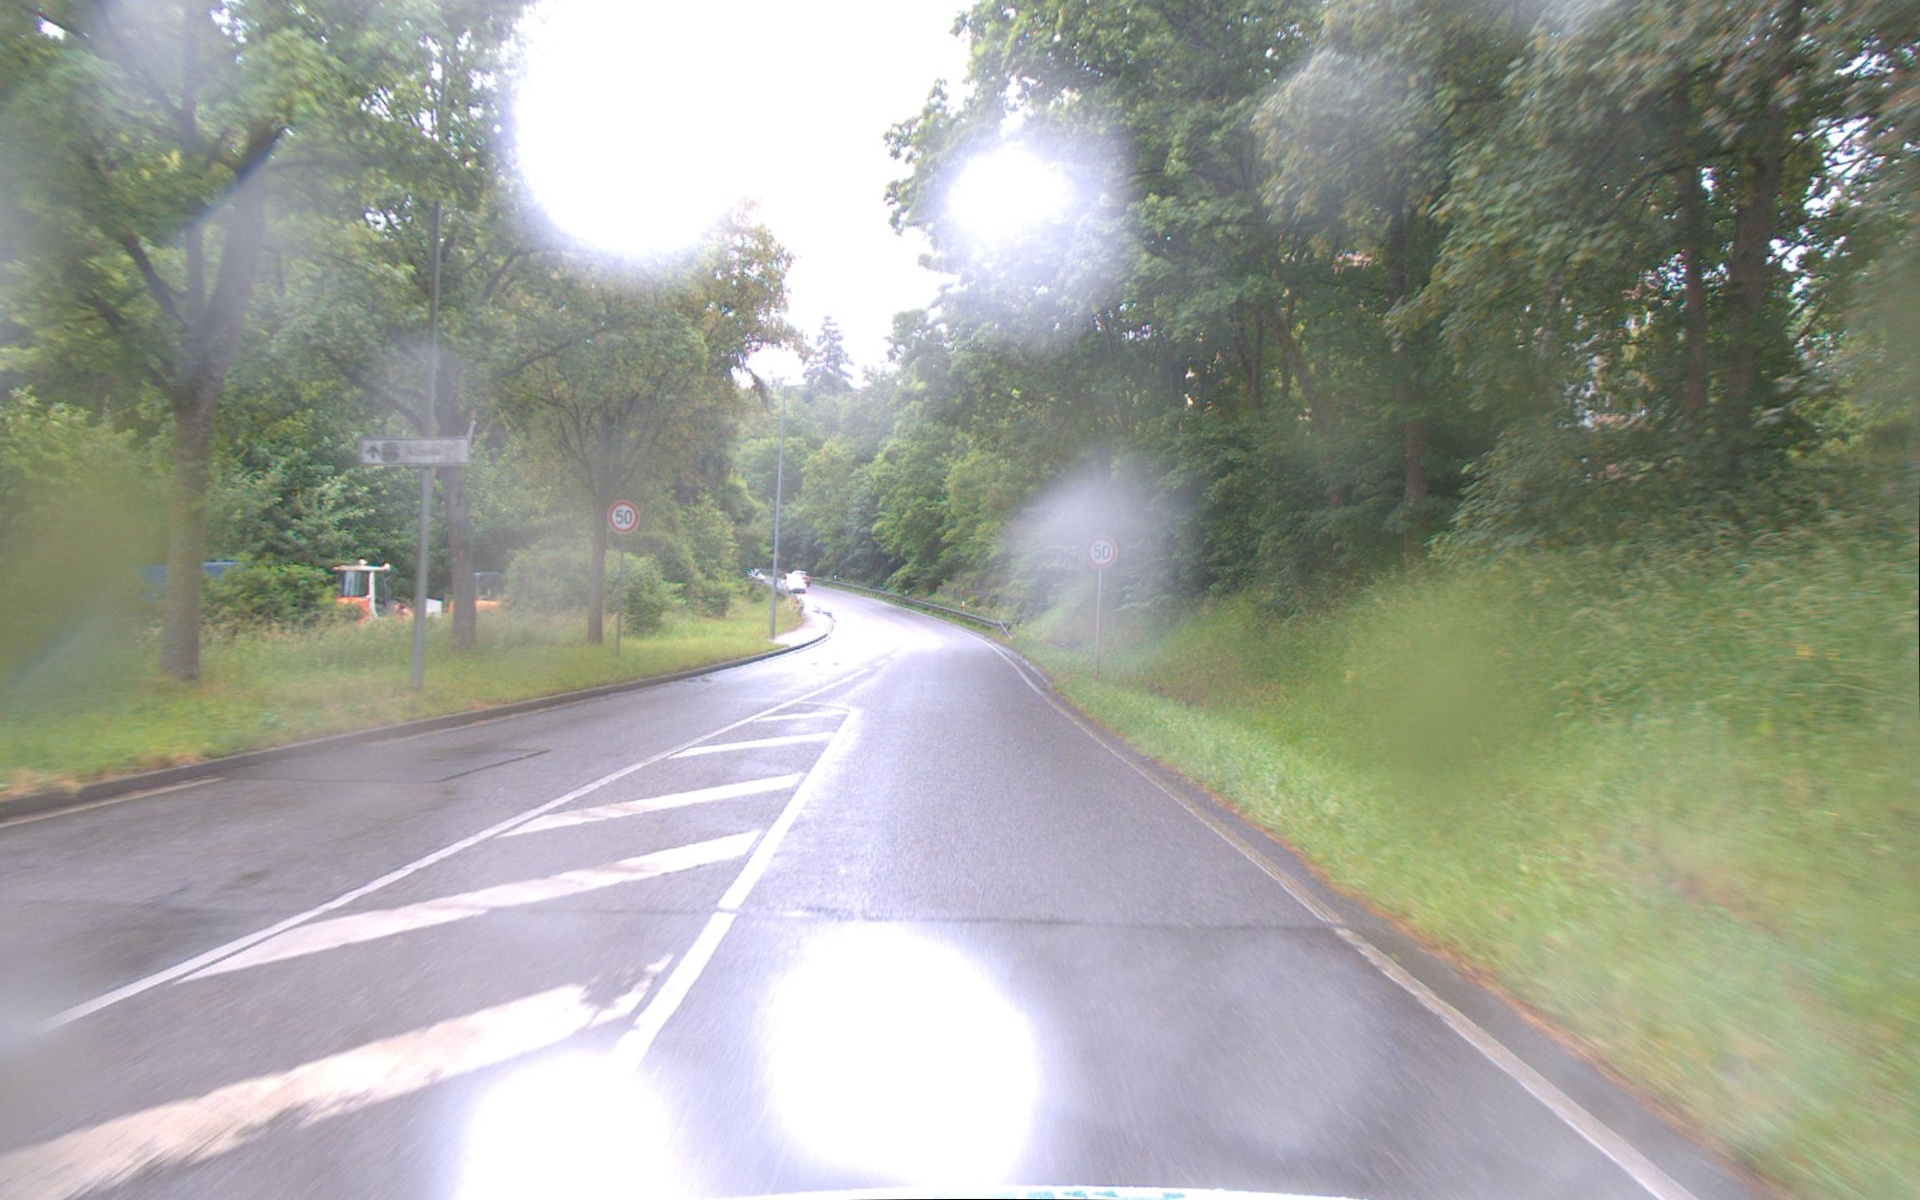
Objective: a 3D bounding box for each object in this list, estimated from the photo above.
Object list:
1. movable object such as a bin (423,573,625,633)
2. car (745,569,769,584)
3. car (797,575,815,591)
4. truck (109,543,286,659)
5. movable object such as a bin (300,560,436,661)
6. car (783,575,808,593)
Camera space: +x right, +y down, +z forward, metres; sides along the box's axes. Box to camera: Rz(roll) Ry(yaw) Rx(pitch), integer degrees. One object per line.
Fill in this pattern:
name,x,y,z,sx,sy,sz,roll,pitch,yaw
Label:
movable object such as a bin,-15.016,0.154,57.679,1.811,1.941,7.893,1,0,29
car,-21.224,-2.460,172.739,1.786,1.459,3.980,1,0,-17
car,-15.823,-1.749,170.166,1.702,1.537,3.998,0,1,-3
truck,-18.023,-0.010,39.388,1.954,2.500,5.219,3,1,-3
movable object such as a bin,-18.059,0.340,50.655,1.951,2.911,4.003,2,-1,13
car,-15.371,-1.470,154.231,1.783,1.677,4.117,1,0,-13
